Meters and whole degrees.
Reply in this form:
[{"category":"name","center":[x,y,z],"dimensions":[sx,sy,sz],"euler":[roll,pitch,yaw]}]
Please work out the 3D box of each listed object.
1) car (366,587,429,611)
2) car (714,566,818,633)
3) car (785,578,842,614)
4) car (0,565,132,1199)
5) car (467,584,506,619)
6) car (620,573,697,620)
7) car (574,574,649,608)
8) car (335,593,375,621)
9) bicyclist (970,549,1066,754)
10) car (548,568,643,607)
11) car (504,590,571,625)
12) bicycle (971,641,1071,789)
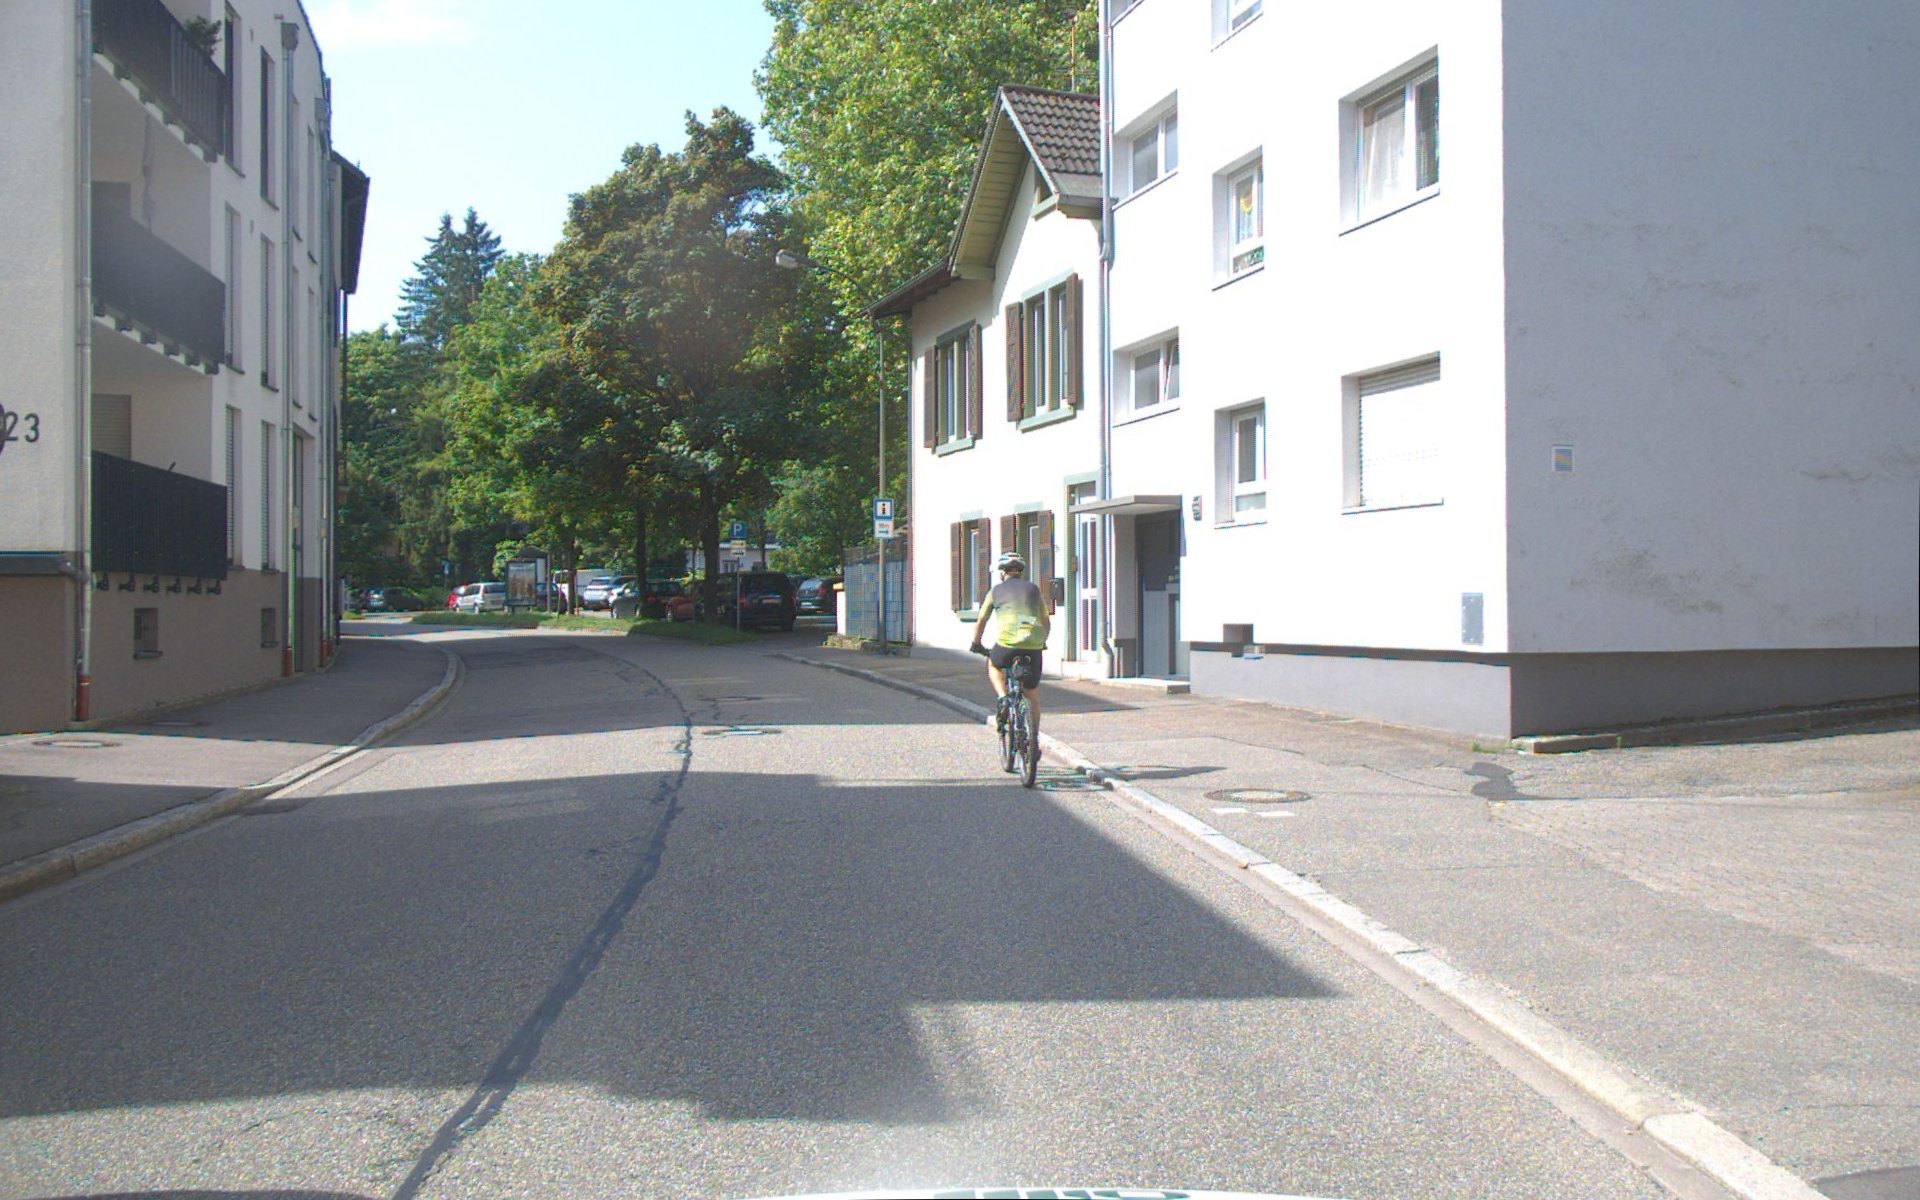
[{"category":"car","center":[-36.185,-0.078,106.375],"dimensions":[3.343,1.555,1.958],"euler":[0,0,19]},{"category":"car","center":[-5.775,-0.058,48.886],"dimensions":[1.801,1.822,3.966],"euler":[-2,2,-27]},{"category":"car","center":[-5.566,-0.144,62.458],"dimensions":[1.556,1.279,3.844],"euler":[-2,1,-14]},{"category":"car","center":[-2.894,0.779,2.025],"dimensions":[1.787,1.564,3.998],"euler":[-3,1,-2]},{"category":"car","center":[-22.037,0.040,76.932],"dimensions":[1.716,1.579,3.736],"euler":[0,0,-17]},{"category":"car","center":[-10.925,-0.154,59.719],"dimensions":[1.688,1.569,3.966],"euler":[-2,2,-27]},{"category":"car","center":[-16.754,-0.429,79.740],"dimensions":[1.772,1.579,4.002],"euler":[0,0,18]},{"category":"car","center":[-34.929,0.403,95.387],"dimensions":[1.618,1.555,3.451],"euler":[0,0,-30]},{"category":"bicyclist","center":[0.448,0.393,13.019],"dimensions":[0.672,1.558,0.715],"euler":[-1,0,-2]},{"category":"car","center":[-18.370,-0.640,83.486],"dimensions":[1.958,1.887,4.688],"euler":[0,0,33]},{"category":"car","center":[-18.570,0.324,72.599],"dimensions":[1.661,1.493,3.364],"euler":[0,0,-38]},{"category":"bicycle","center":[0.458,0.877,13.081],"dimensions":[0.684,1.053,1.471],"euler":[1,0,-2]}]
